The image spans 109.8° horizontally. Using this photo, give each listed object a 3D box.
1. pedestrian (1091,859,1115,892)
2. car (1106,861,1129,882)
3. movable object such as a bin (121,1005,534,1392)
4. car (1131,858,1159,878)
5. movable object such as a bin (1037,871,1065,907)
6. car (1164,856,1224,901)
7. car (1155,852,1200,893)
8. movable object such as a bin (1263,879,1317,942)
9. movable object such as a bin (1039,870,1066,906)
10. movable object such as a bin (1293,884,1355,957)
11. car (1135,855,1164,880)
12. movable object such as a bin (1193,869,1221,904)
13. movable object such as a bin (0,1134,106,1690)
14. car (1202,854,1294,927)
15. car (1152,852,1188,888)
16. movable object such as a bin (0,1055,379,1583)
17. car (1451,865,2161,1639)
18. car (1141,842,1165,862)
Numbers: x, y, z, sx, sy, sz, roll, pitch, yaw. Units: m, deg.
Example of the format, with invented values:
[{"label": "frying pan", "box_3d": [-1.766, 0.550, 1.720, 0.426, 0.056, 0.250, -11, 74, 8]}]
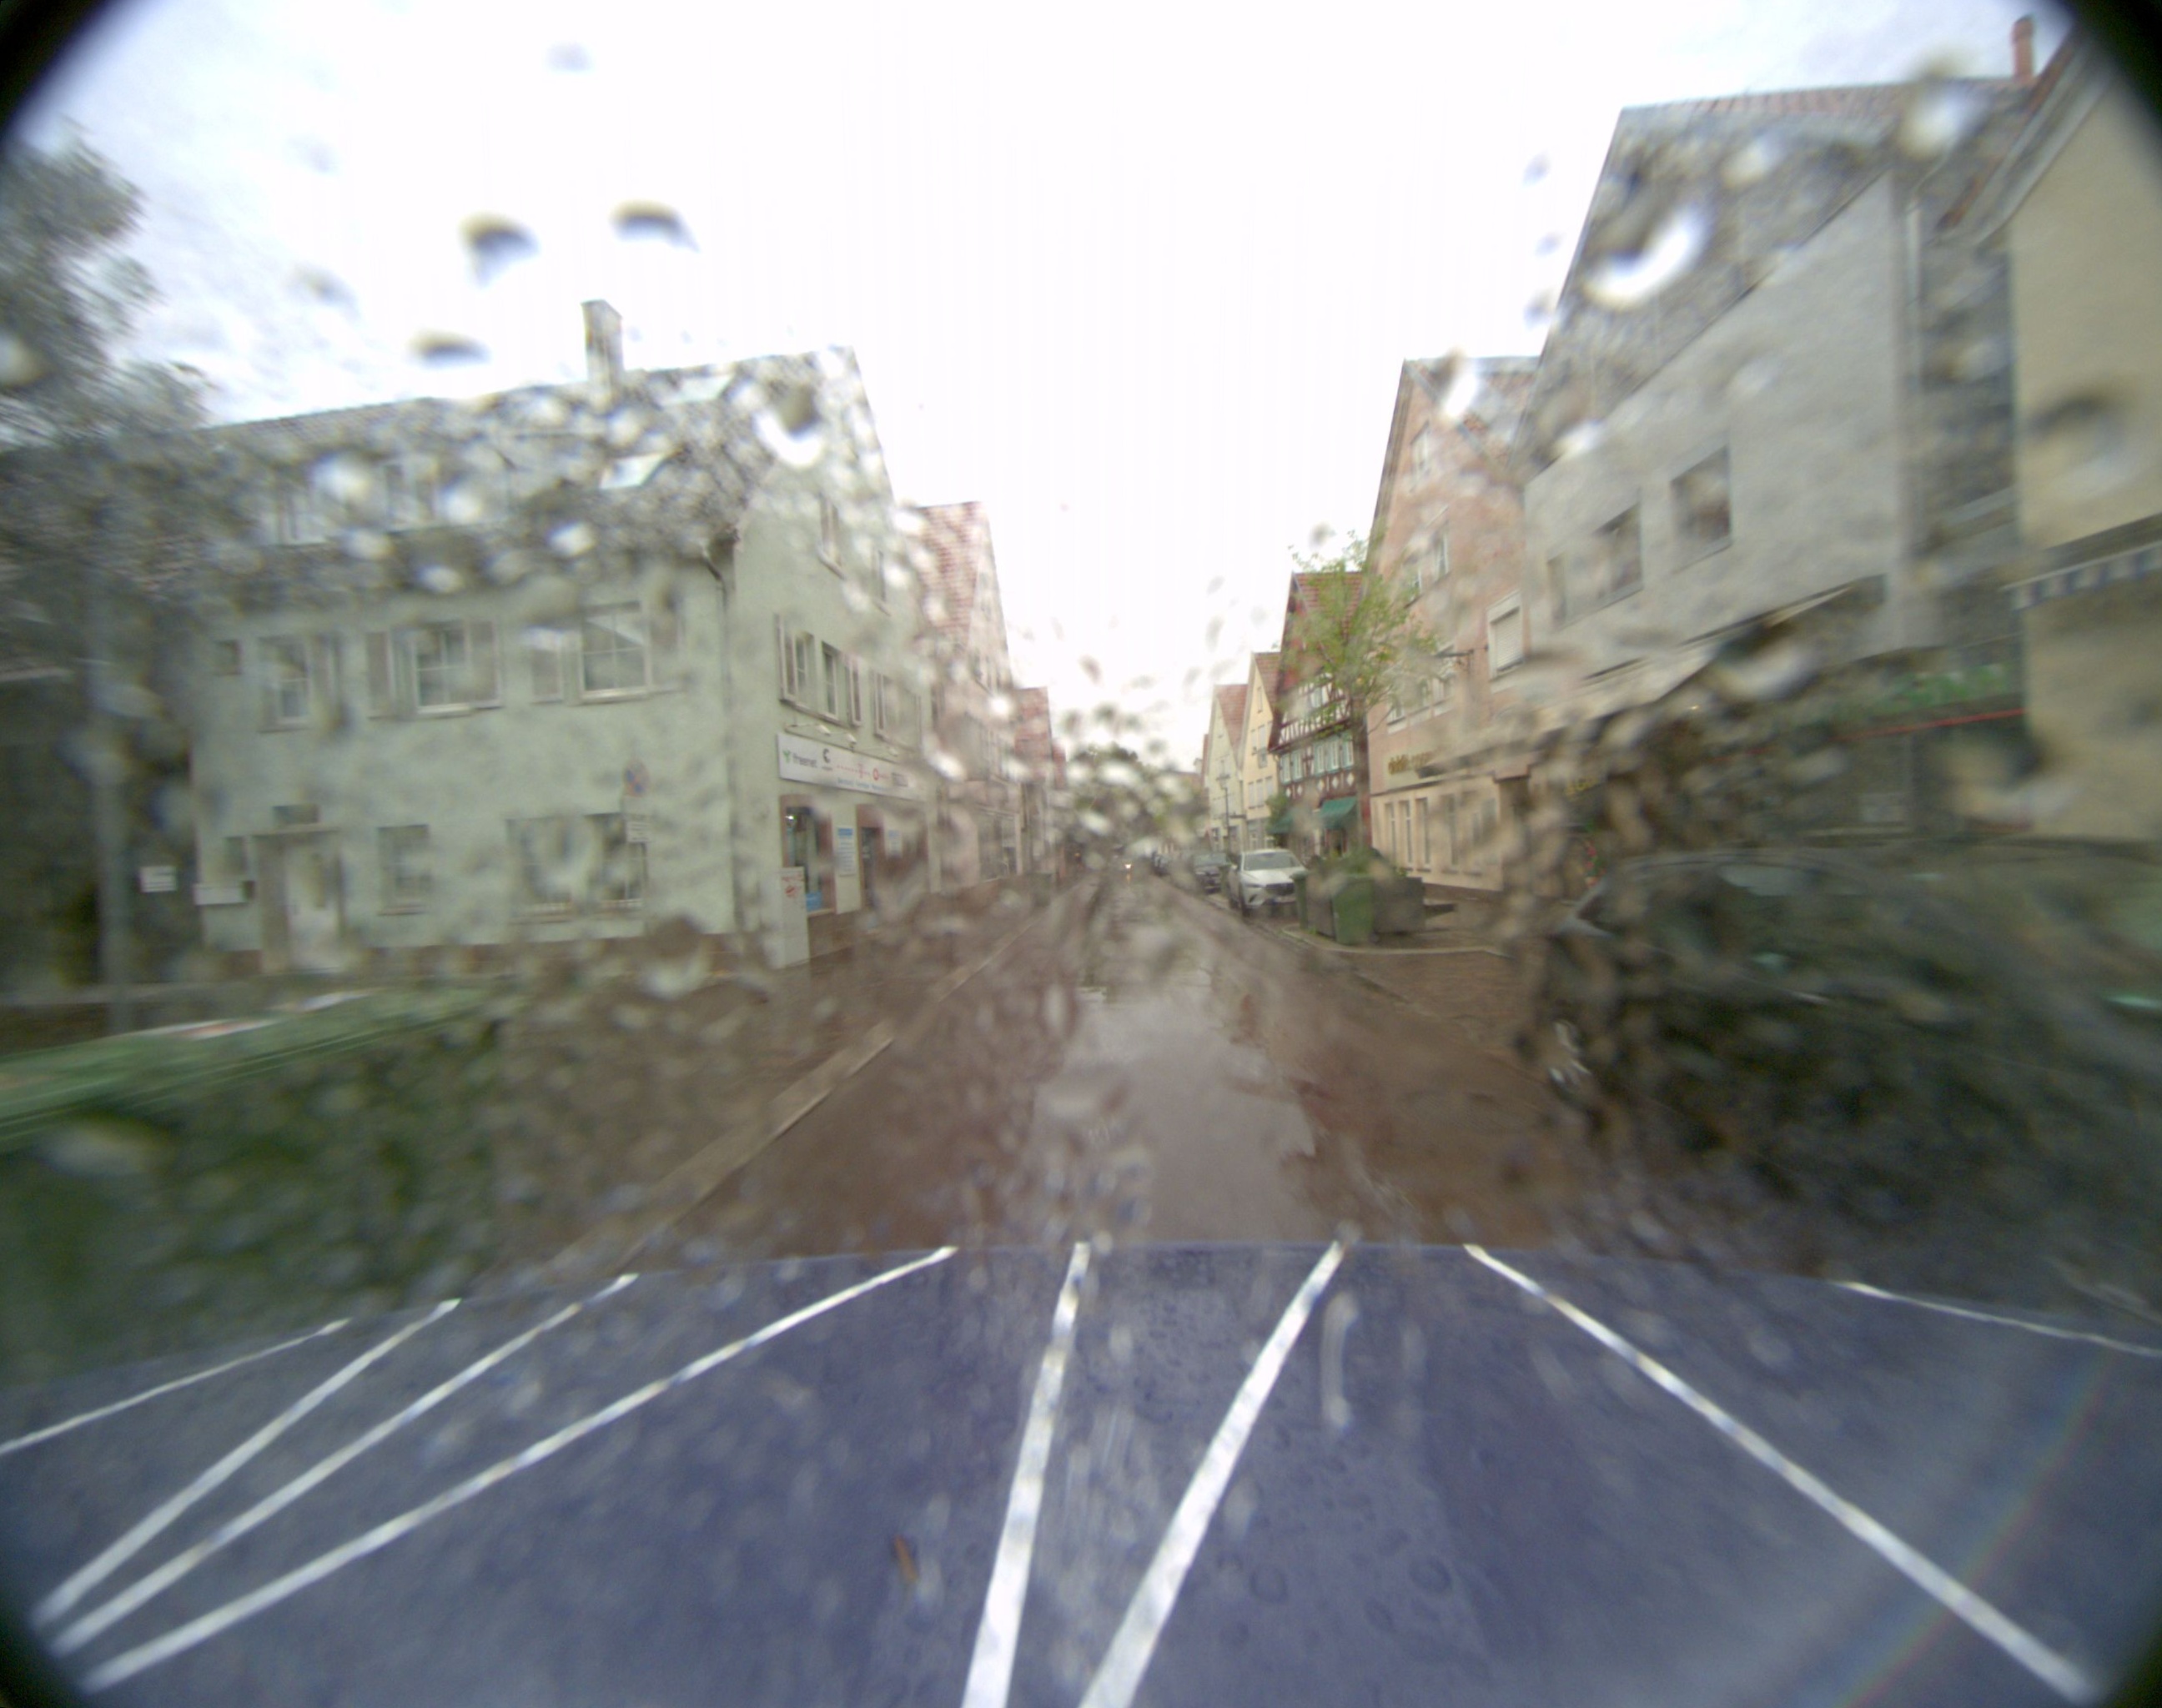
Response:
[{"label": "pedestrian", "box_3d": [1.183, 1.144, 40.815, 1.176, 1.672, 0.790, -4, 2, 2]}, {"label": "car", "box_3d": [3.096, 1.462, 64.419, 1.784, 1.529, 4.291, -5, -1, 2]}, {"label": "movable object such as a bin", "box_3d": [-2.582, 1.155, 2.684, 0.770, 1.073, 0.599, -4, 2, 4]}, {"label": "car", "box_3d": [4.999, 1.063, 59.884, 1.866, 1.433, 4.619, -3, 0, 1]}, {"label": "movable object such as a bin", "box_3d": [-0.921, 1.084, 23.759, 0.798, 1.074, 0.582, -3, 2, 1]}, {"label": "car", "box_3d": [4.363, 0.914, 29.858, 1.784, 1.529, 4.291, -5, -1, 2]}, {"label": "car", "box_3d": [4.474, 0.821, 35.851, 1.828, 1.656, 4.644, -4, 0, 5]}, {"label": "movable object such as a bin", "box_3d": [3.902, 1.049, 14.241, 0.788, 1.078, 0.693, -4, 0, 6]}, {"label": "movable object such as a bin", "box_3d": [-0.907, 1.078, 24.419, 0.794, 1.074, 0.615, -3, 2, 1]}, {"label": "movable object such as a bin", "box_3d": [3.760, 1.014, 11.809, 0.711, 1.046, 0.704, -4, 0, 5]}, {"label": "car", "box_3d": [4.893, 0.932, 54.330, 1.866, 1.515, 4.329, -5, 0, 6]}, {"label": "movable object such as a bin", "box_3d": [4.266, 1.095, 25.808, 0.771, 1.076, 0.675, -3, 2, -1]}, {"label": "movable object such as a bin", "box_3d": [-2.605, 1.185, 1.450, 0.730, 1.085, 0.521, -4, 2, 4]}, {"label": "car", "box_3d": [4.107, 0.858, 19.255, 1.695, 1.529, 4.123, -4, -1, 5]}, {"label": "car", "box_3d": [5.041, 0.836, 43.018, 1.828, 1.657, 4.643, -4, 2, 7]}, {"label": "movable object such as a bin", "box_3d": [-2.613, 1.175, 2.065, 0.756, 1.058, 0.600, -4, 2, 4]}, {"label": "car", "box_3d": [3.091, 0.828, 2.822, 1.695, 1.435, 3.886, -4, -1, 4]}, {"label": "car", "box_3d": [6.260, -0.214, 65.656, 1.866, 1.515, 4.329, -5, 0, 6]}]
